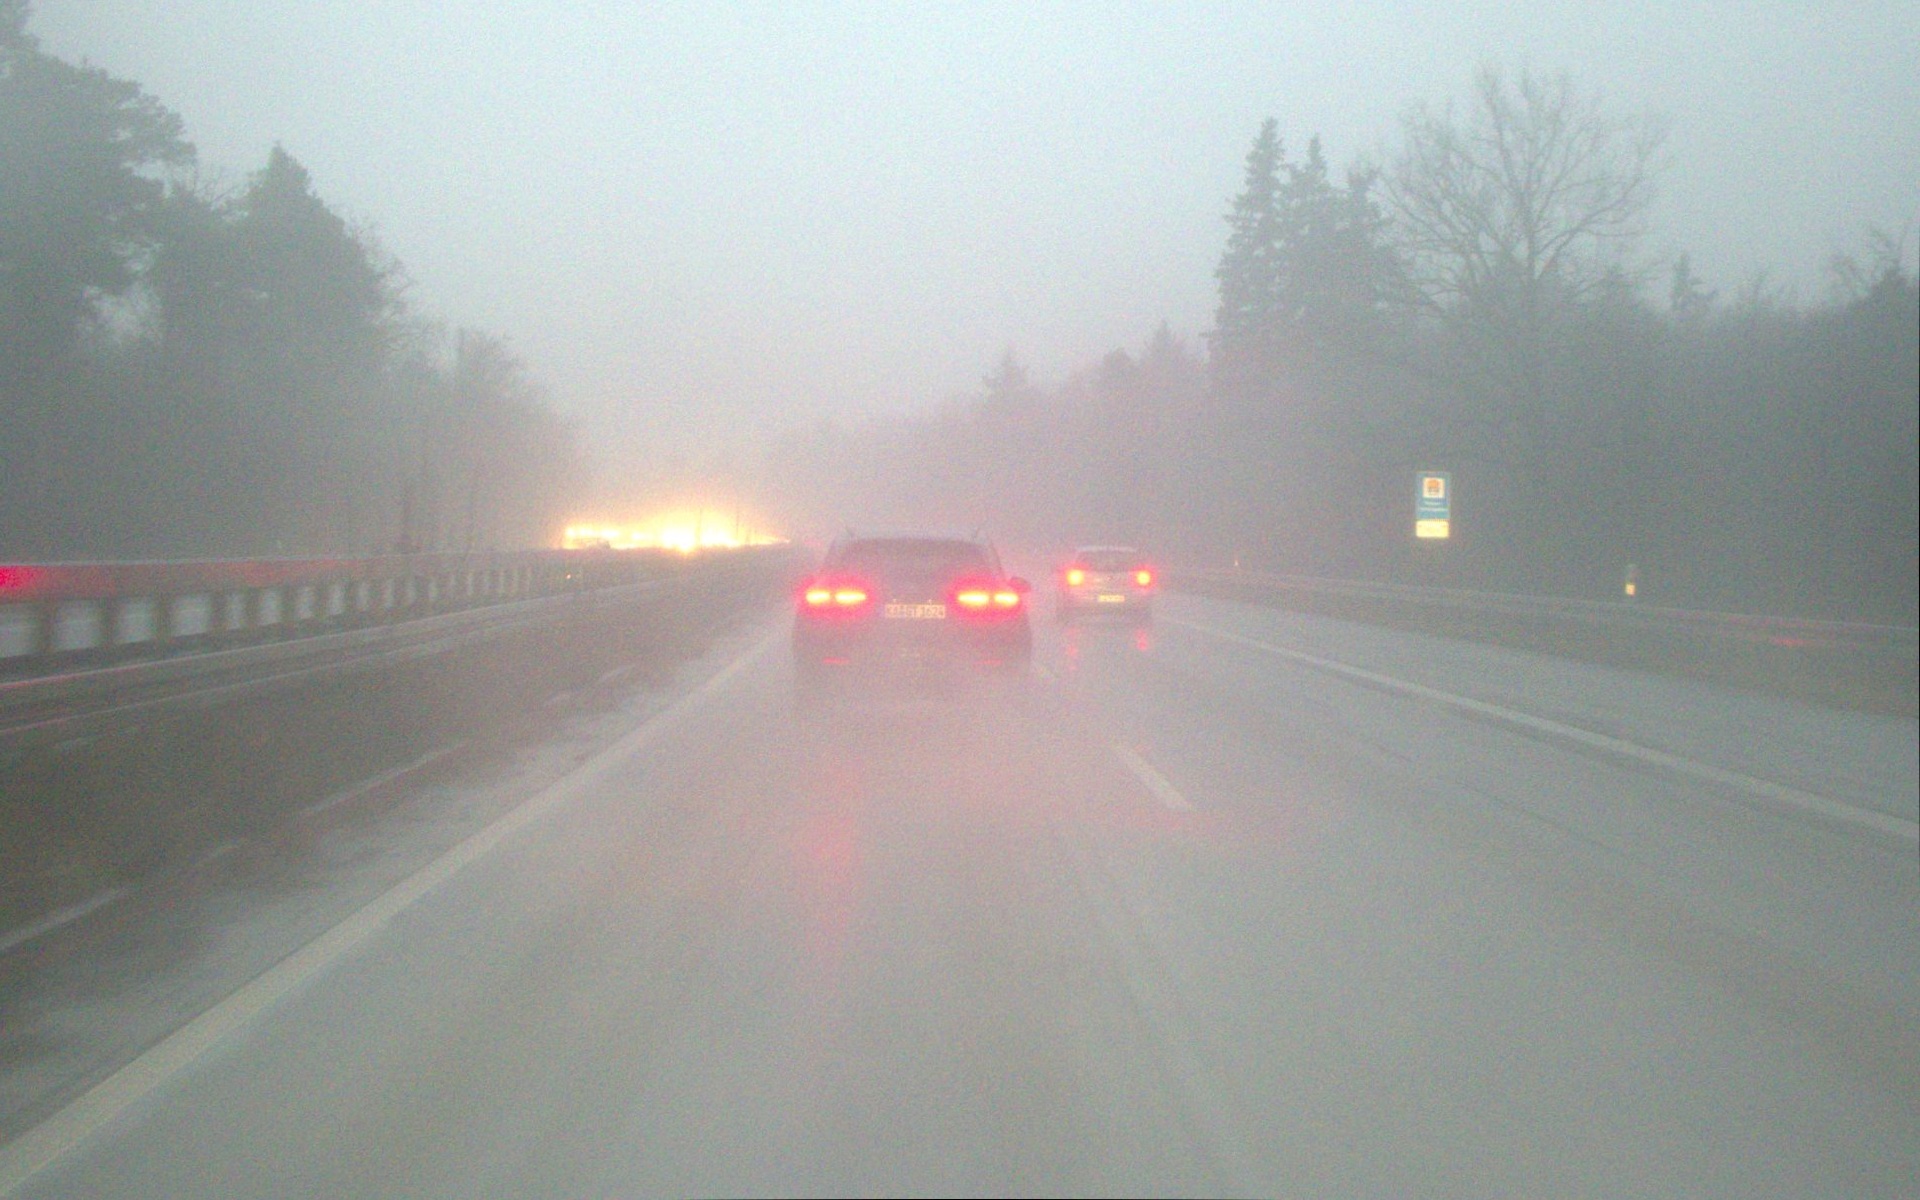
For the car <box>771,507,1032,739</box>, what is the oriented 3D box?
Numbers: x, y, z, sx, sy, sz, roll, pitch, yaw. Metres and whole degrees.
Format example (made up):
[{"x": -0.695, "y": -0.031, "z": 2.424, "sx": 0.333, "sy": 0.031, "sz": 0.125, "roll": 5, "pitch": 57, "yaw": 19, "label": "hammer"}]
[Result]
[{"x": -0.494, "y": 0.140, "z": 28.499, "sx": 1.986, "sy": 1.761, "sz": 4.174, "roll": 1, "pitch": 1, "yaw": -1, "label": "car"}]

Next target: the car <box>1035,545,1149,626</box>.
[{"x": 2.432, "y": -0.290, "z": 63.950, "sx": 1.780, "sy": 1.432, "sz": 3.538, "roll": 1, "pitch": 1, "yaw": -3, "label": "car"}]
